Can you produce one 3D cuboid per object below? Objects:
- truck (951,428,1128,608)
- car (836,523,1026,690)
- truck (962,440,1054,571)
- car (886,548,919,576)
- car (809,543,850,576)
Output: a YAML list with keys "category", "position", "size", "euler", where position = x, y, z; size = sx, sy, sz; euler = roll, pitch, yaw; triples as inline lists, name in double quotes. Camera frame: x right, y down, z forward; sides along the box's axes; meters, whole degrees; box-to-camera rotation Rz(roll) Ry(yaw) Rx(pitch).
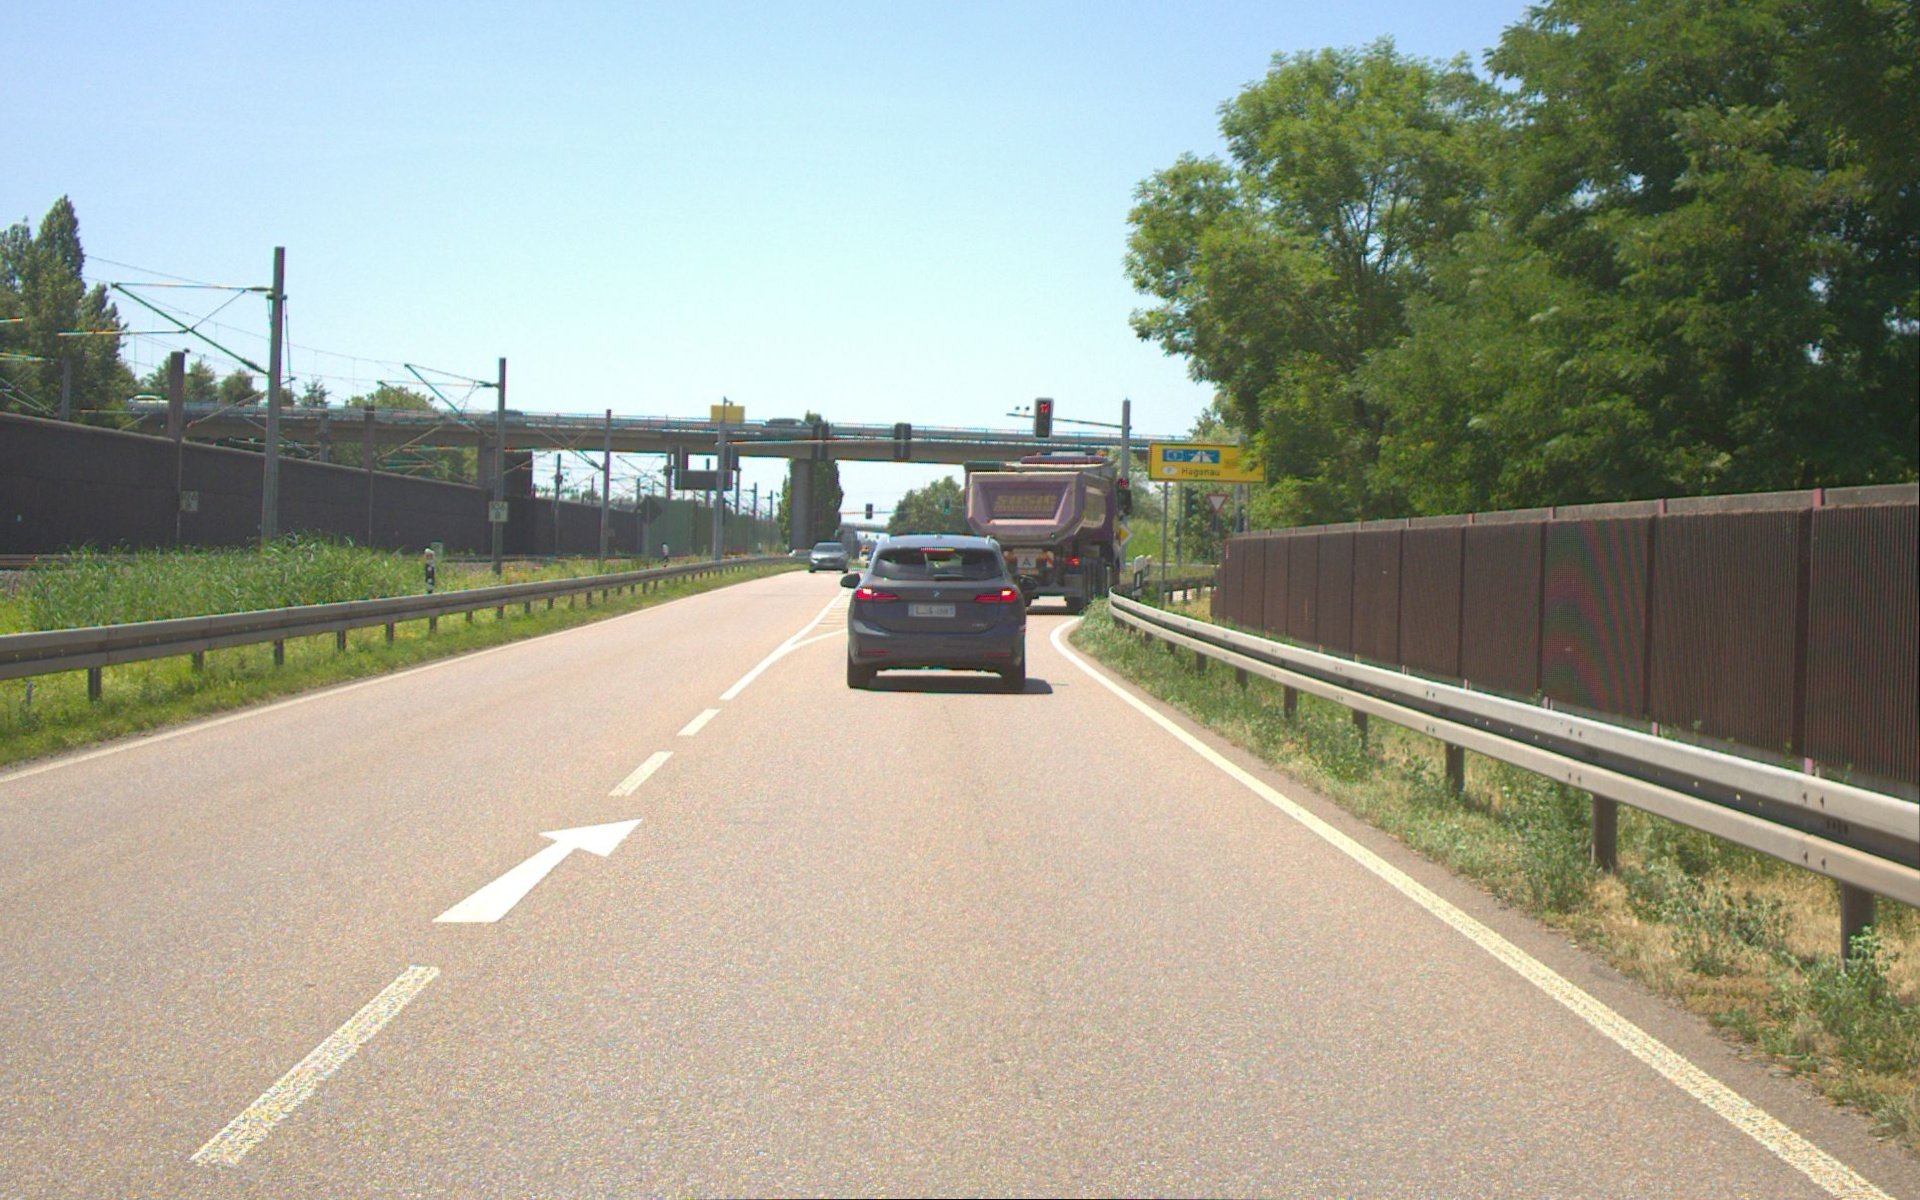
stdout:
- category: "truck"
  position: [1.987, -1.841, 79.572]
  size: [2.834, 3.808, 11.882]
  euler: [1, 1, 7]
- category: "car"
  position: [-0.309, 0.037, 35.998]
  size: [1.844, 1.617, 4.226]
  euler: [1, 1, -1]
- category: "truck"
  position: [1.452, -2.827, 103.831]
  size: [2.590, 3.724, 9.575]
  euler: [1, 1, 1]
- category: "car"
  position: [-3.819, -2.574, 230.169]
  size: [1.927, 1.761, 4.597]
  euler: [2, 2, 2]
- category: "car"
  position: [-6.166, -1.924, 162.019]
  size: [1.864, 1.480, 4.888]
  euler: [1, 1, -3]
